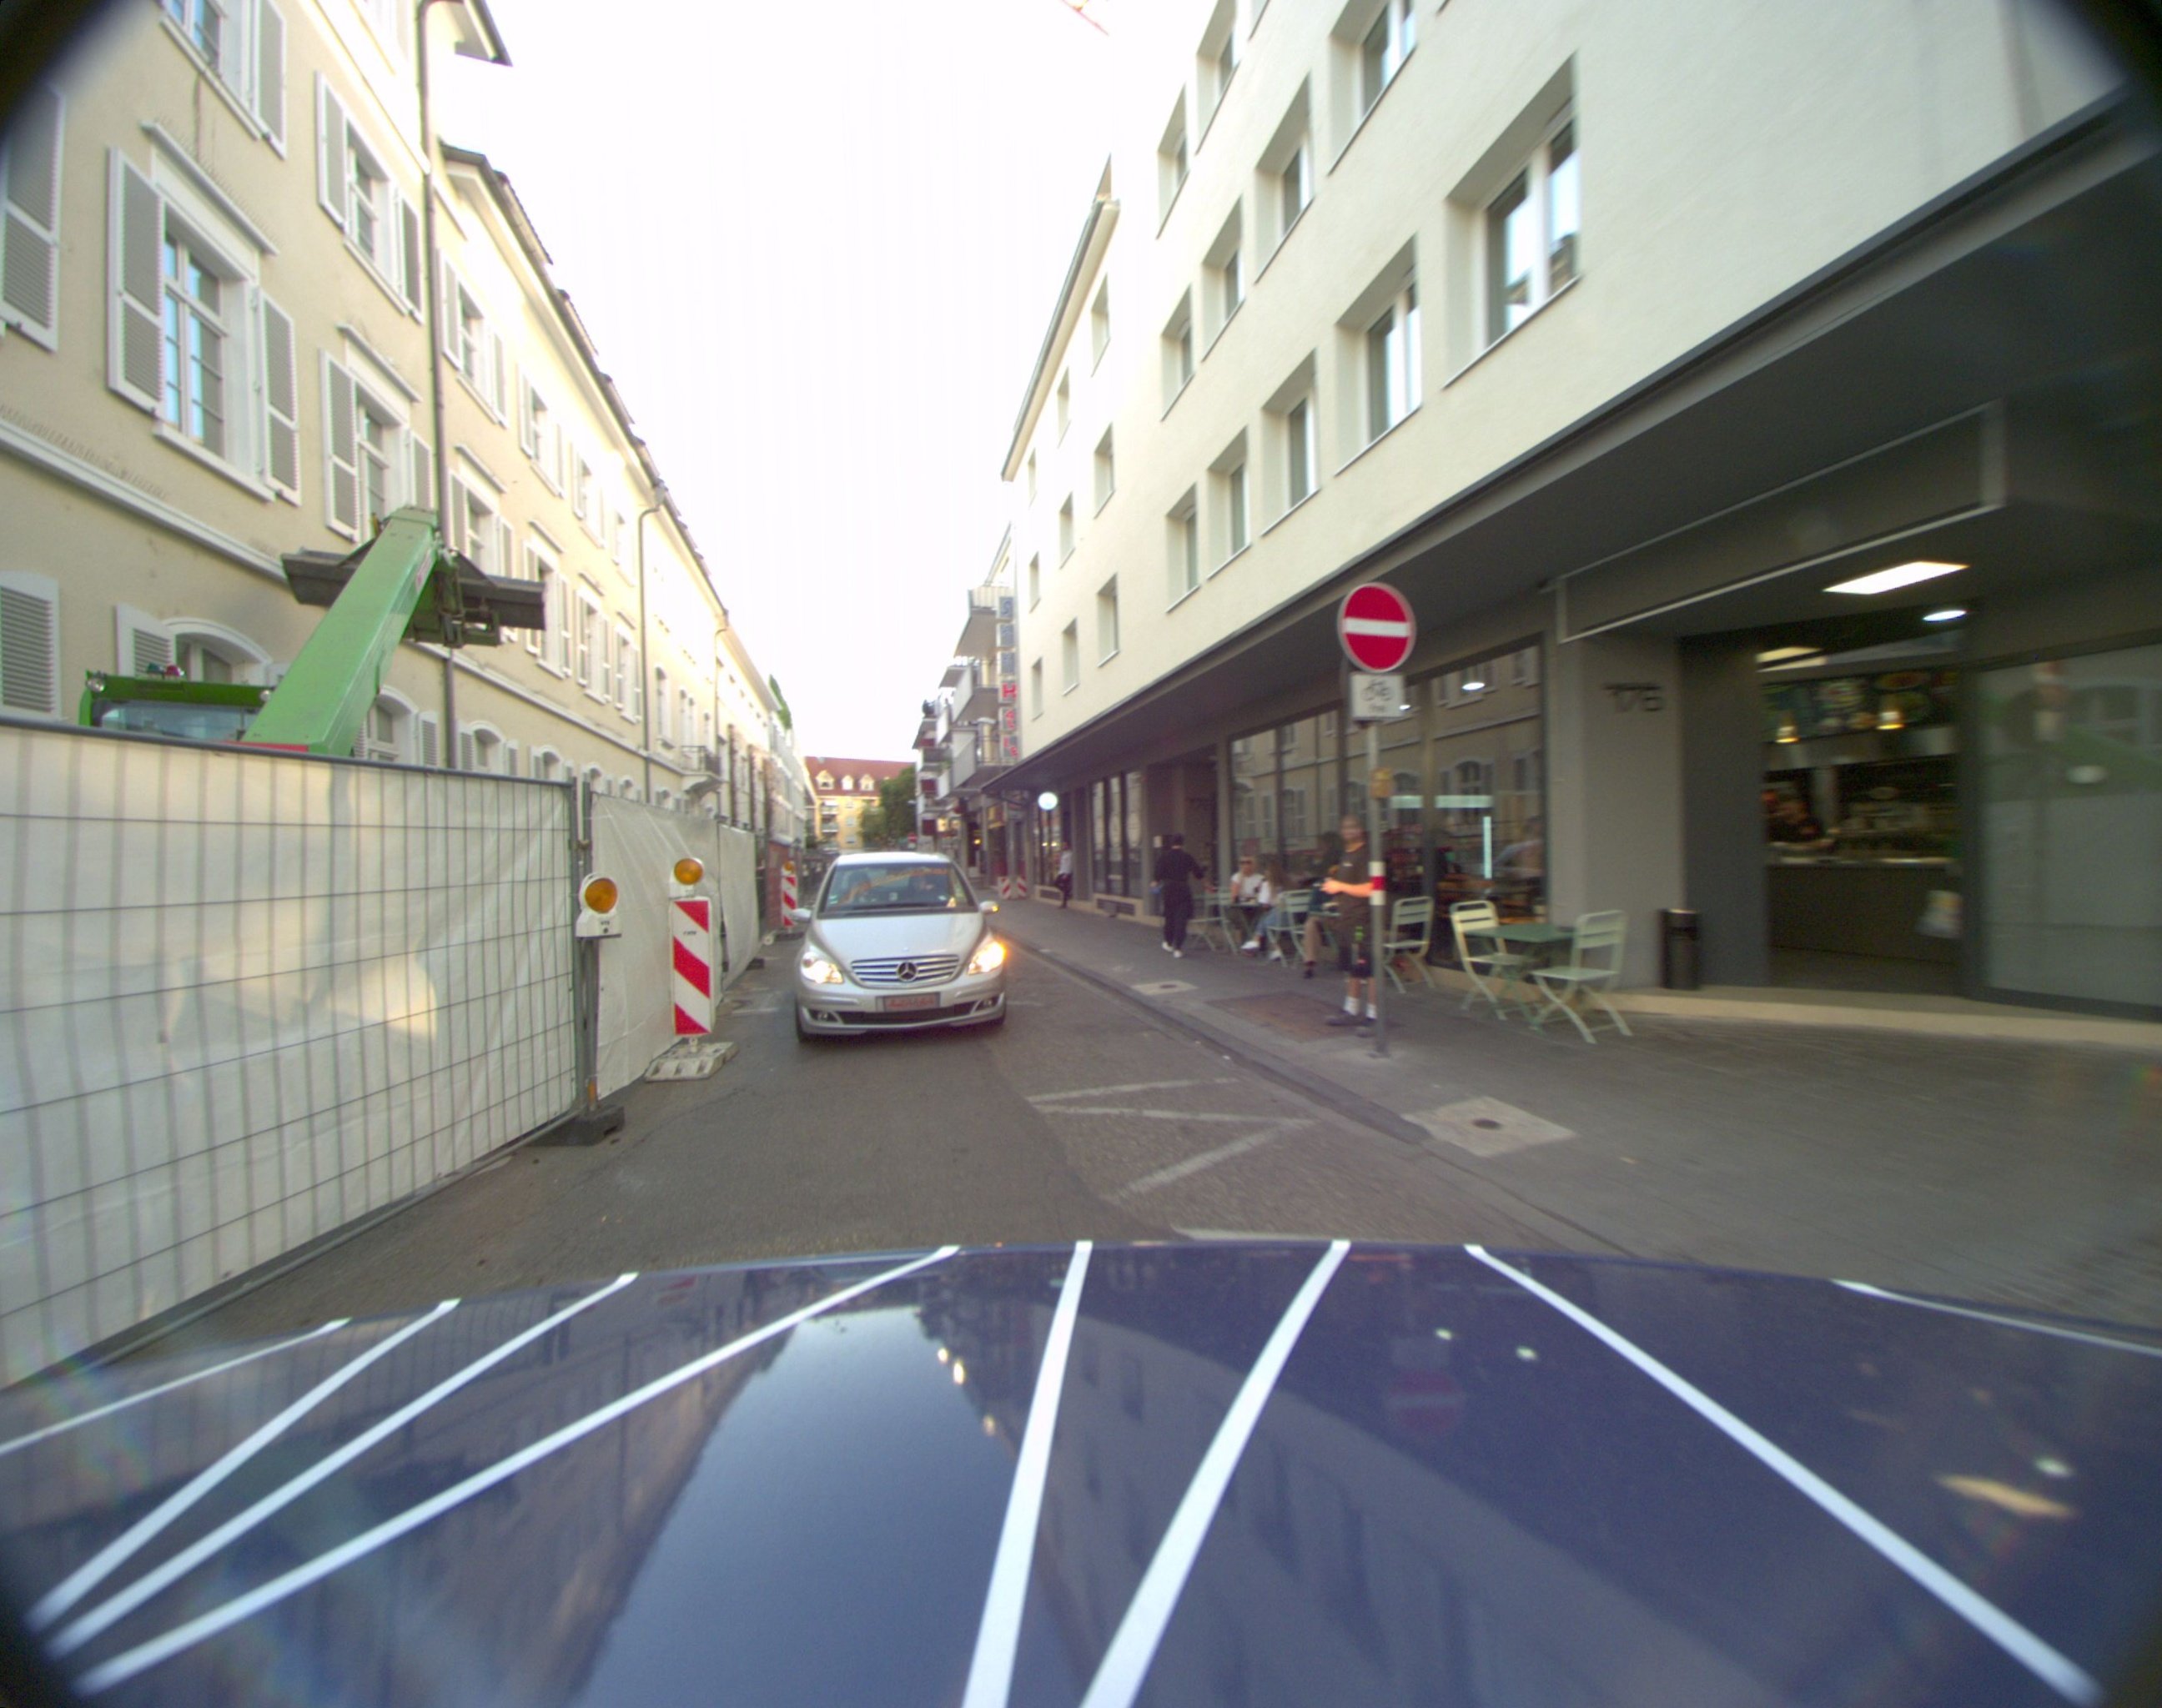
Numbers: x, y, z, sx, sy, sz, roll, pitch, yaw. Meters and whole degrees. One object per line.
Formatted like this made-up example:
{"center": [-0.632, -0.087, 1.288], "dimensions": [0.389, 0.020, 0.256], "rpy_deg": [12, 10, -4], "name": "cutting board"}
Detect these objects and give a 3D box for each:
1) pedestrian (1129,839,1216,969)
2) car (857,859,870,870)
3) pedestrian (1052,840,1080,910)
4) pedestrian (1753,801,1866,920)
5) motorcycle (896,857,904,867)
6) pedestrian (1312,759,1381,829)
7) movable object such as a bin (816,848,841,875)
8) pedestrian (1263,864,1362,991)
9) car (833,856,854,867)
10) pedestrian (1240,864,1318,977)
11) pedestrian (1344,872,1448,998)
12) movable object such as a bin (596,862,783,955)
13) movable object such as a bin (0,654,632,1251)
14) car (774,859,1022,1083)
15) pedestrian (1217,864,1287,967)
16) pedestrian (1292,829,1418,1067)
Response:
{"center": [1.229, 0.642, 10.336], "dimensions": [0.799, 1.658, 0.900], "rpy_deg": [-3, 2, -18], "name": "pedestrian"}
{"center": [-27.094, 1.312, 94.744], "dimensions": [1.541, 1.317, 3.348], "rpy_deg": [-1, 0, -16], "name": "car"}
{"center": [-0.403, 0.549, 20.070], "dimensions": [0.532, 1.824, 0.561], "rpy_deg": [-1, 0, -22], "name": "pedestrian"}
{"center": [8.143, 0.066, 8.506], "dimensions": [0.674, 1.253, 0.653], "rpy_deg": [-3, 1, -20], "name": "pedestrian"}
{"center": [-26.165, 1.142, 110.024], "dimensions": [0.859, 1.345, 1.957], "rpy_deg": [-1, 0, -7], "name": "motorcycle"}
{"center": [8.962, -1.895, 25.414], "dimensions": [1.995, 2.002, 4.006], "rpy_deg": [0, 0, 22], "name": "pedestrian"}
{"center": [-25.584, 0.765, 77.114], "dimensions": [2.023, 2.608, 5.743], "rpy_deg": [-4, 0, -15], "name": "movable object such as a bin"}
{"center": [2.518, 0.768, 8.308], "dimensions": [0.704, 1.268, 0.712], "rpy_deg": [-3, 1, -16], "name": "pedestrian"}
{"center": [-36.443, 1.148, 116.566], "dimensions": [1.751, 1.395, 4.234], "rpy_deg": [0, 2, -38], "name": "car"}
{"center": [2.388, 0.777, 9.210], "dimensions": [0.575, 1.268, 0.712], "rpy_deg": [-3, 1, -16], "name": "pedestrian"}
{"center": [3.025, 0.752, 7.340], "dimensions": [0.575, 1.107, 0.712], "rpy_deg": [-3, 1, -16], "name": "pedestrian"}
{"center": [-9.182, 1.105, 18.780], "dimensions": [2.746, 1.629, 7.541], "rpy_deg": [-2, 1, -17], "name": "movable object such as a bin"}
{"center": [-5.561, 0.471, 5.766], "dimensions": [2.615, 2.822, 4.443], "rpy_deg": [0, 0, -16], "name": "movable object such as a bin"}
{"center": [-1.921, 0.880, 7.780], "dimensions": [1.807, 1.607, 4.267], "rpy_deg": [0, -1, -16], "name": "car"}
{"center": [2.231, 0.777, 9.978], "dimensions": [0.575, 1.268, 0.712], "rpy_deg": [-3, 1, -16], "name": "pedestrian"}
{"center": [2.063, 0.661, 5.741], "dimensions": [0.507, 1.658, 0.685], "rpy_deg": [-4, 2, -40], "name": "pedestrian"}
